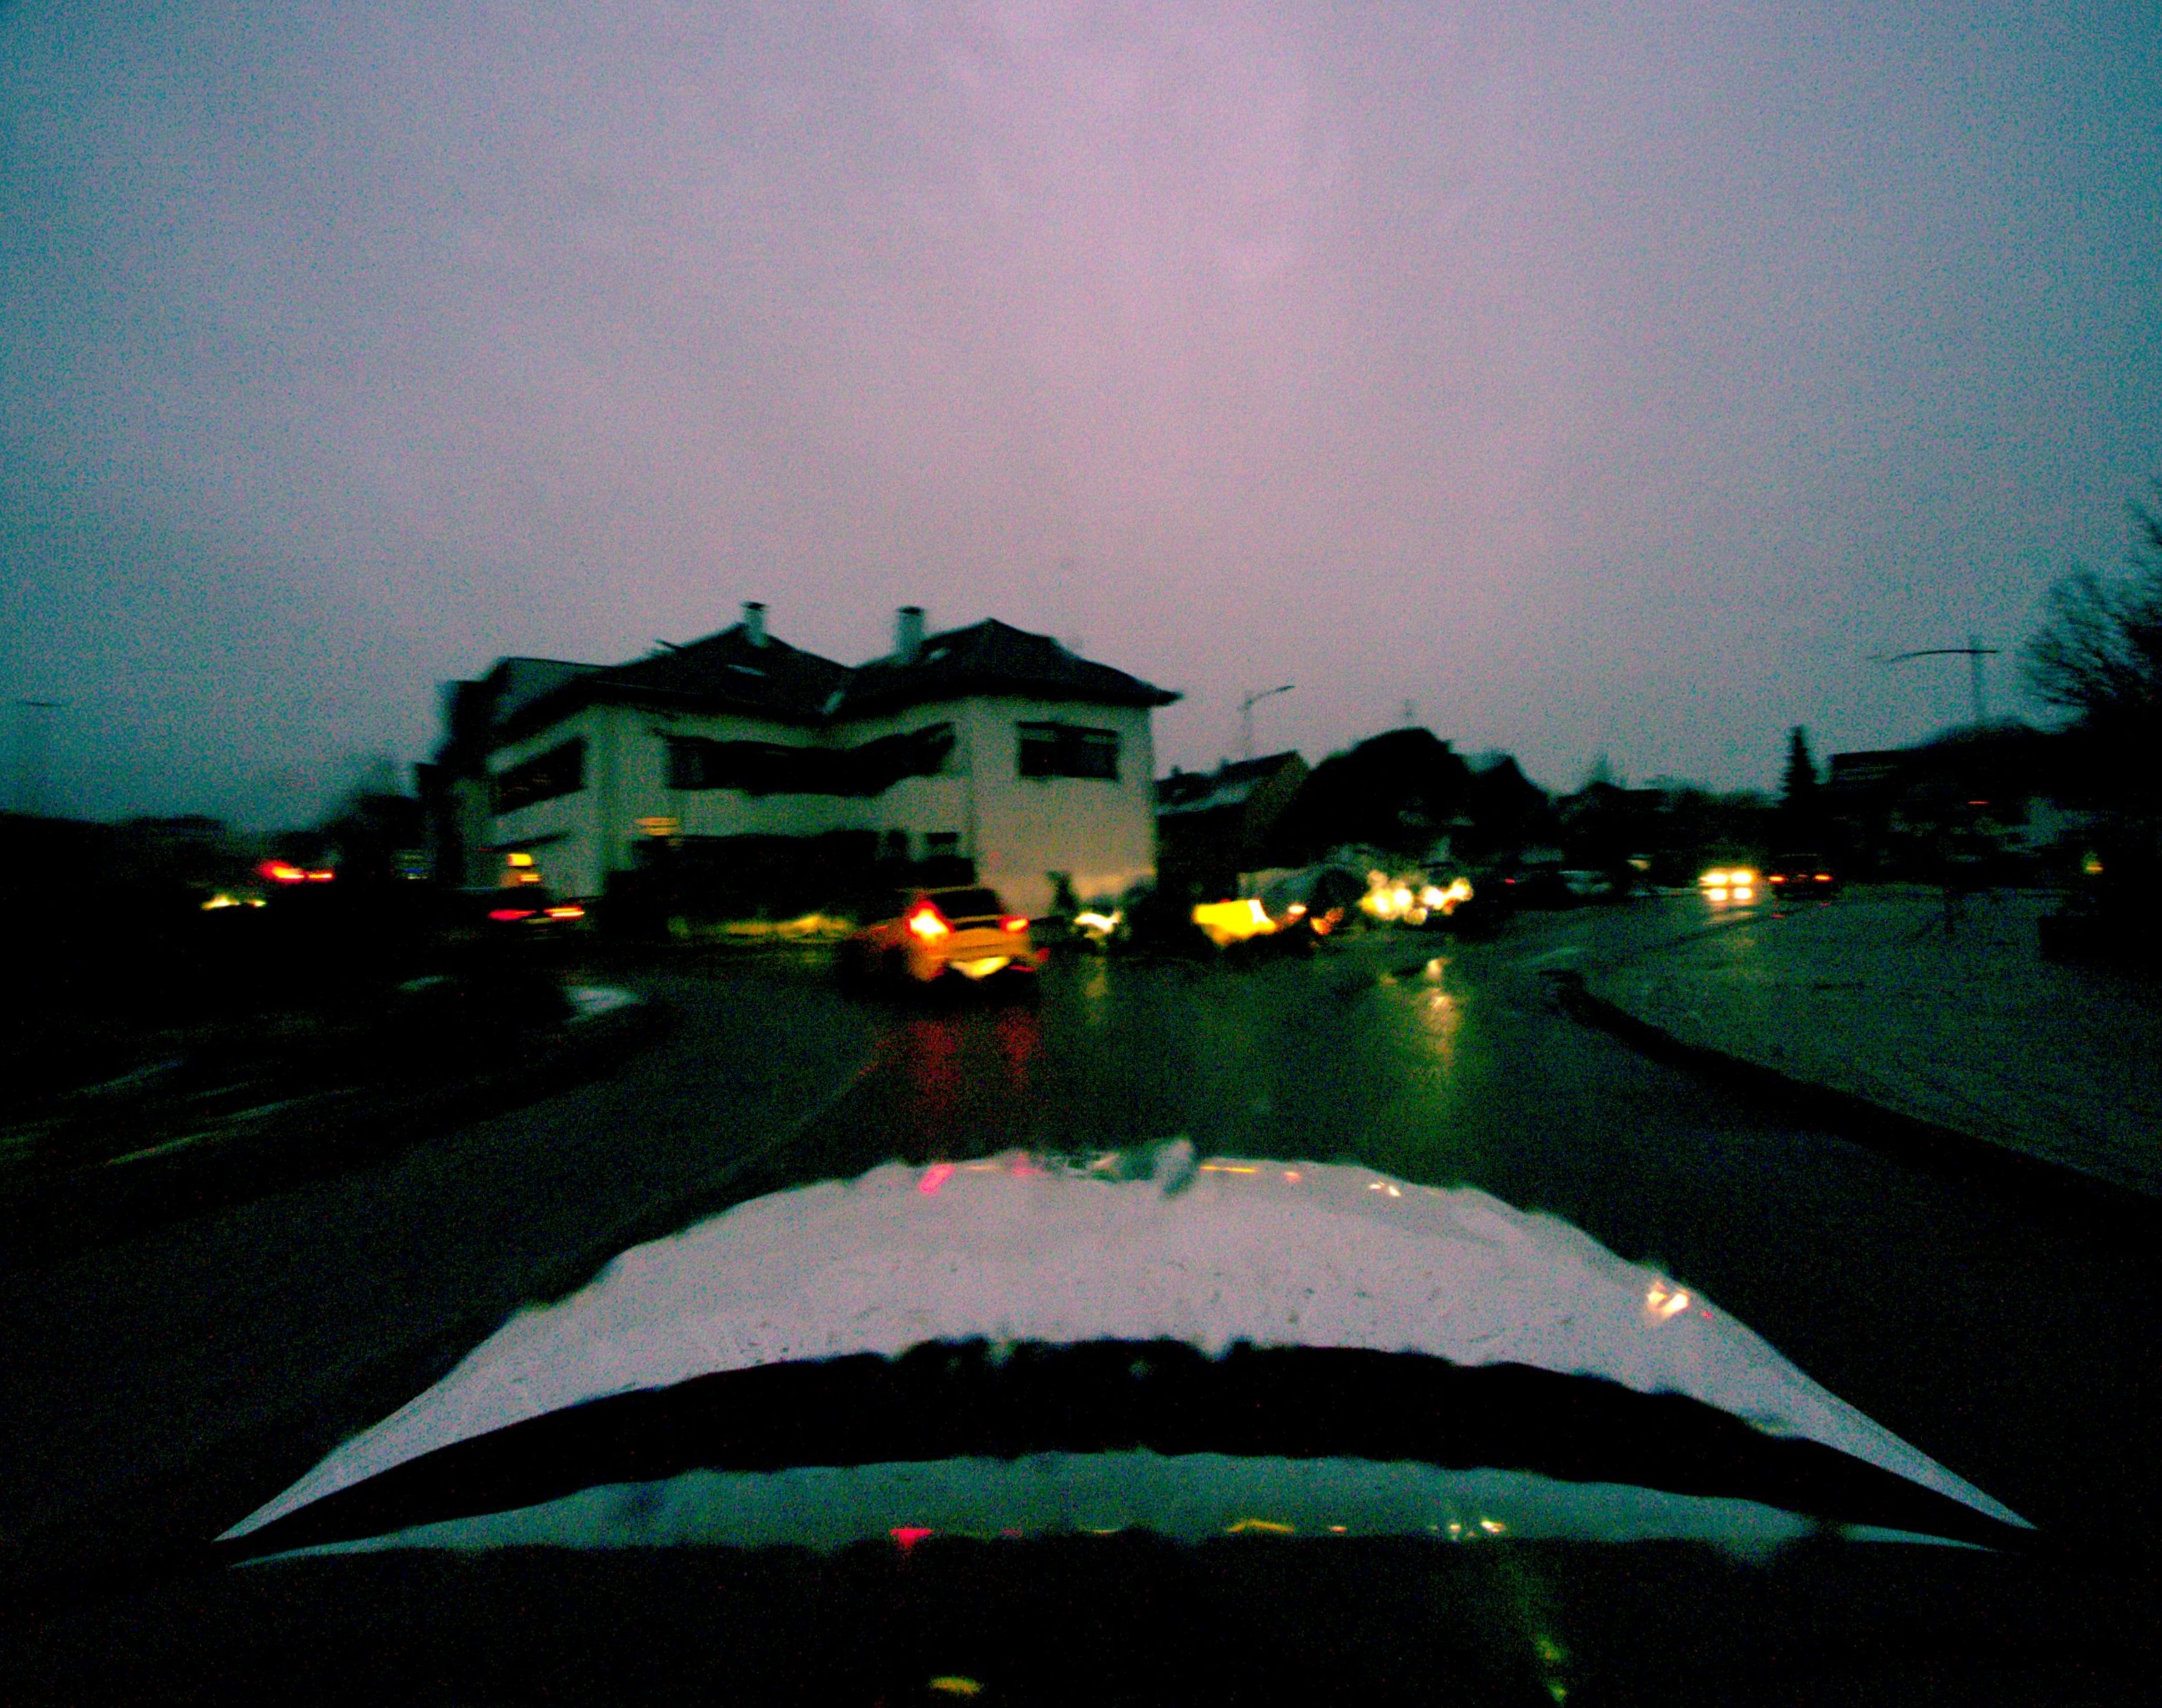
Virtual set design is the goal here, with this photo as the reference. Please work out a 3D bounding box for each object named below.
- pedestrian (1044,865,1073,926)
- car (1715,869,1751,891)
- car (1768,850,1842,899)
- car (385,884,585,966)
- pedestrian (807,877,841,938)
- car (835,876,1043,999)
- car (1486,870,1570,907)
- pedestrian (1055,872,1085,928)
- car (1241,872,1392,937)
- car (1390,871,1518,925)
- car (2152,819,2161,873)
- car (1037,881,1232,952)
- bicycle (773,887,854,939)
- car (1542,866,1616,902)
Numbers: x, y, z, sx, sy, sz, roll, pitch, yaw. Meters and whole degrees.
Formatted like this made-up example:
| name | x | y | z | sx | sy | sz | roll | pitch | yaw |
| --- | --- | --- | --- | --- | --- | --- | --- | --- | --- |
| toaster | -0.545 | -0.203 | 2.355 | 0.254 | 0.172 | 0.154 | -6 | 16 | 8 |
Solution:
| name | x | y | z | sx | sy | sz | roll | pitch | yaw |
| --- | --- | --- | --- | --- | --- | --- | --- | --- | --- |
| pedestrian | -0.689 | 1.250 | 24.956 | 0.718 | 1.832 | 0.633 | -1 | 0 | -22 |
| car | 45.639 | 1.814 | 57.006 | 1.858 | 1.453 | 4.025 | -2 | -1 | 39 |
| car | 33.548 | 0.922 | 37.693 | 4.927 | 2.014 | 1.975 | 1 | -6 | -44 |
| car | -13.466 | 1.538 | 18.418 | 3.902 | 1.615 | 1.933 | -1 | -1 | 24 |
| pedestrian | -6.789 | 1.397 | 21.542 | 0.687 | 1.564 | 0.610 | -1 | -1 | 1 |
| car | -2.219 | 1.124 | 11.744 | 1.720 | 1.422 | 3.973 | 0 | -4 | -30 |
| car | 19.235 | 1.444 | 34.989 | 3.725 | 1.466 | 1.709 | 0 | -1 | -36 |
| pedestrian | -0.337 | 1.354 | 24.212 | 0.718 | 1.621 | 0.578 | -1 | -1 | -22 |
| car | 6.392 | 1.308 | 21.983 | 4.015 | 1.552 | 1.679 | 0 | -2 | -33 |
| car | 11.820 | 1.349 | 25.727 | 4.275 | 1.508 | 1.678 | 0 | -3 | -34 |
| car | 42.949 | -0.344 | 31.176 | 4.882 | 2.014 | 2.189 | 0 | -3 | -38 |
| car | 1.297 | 1.407 | 18.923 | 4.251 | 1.384 | 1.831 | 0 | -4 | -34 |
| bicycle | -6.980 | 1.526 | 21.285 | 1.928 | 1.295 | 0.552 | -1 | 0 | 2 |
| car | 23.358 | 1.374 | 38.154 | 3.733 | 1.550 | 1.655 | 0 | -1 | -36 |
